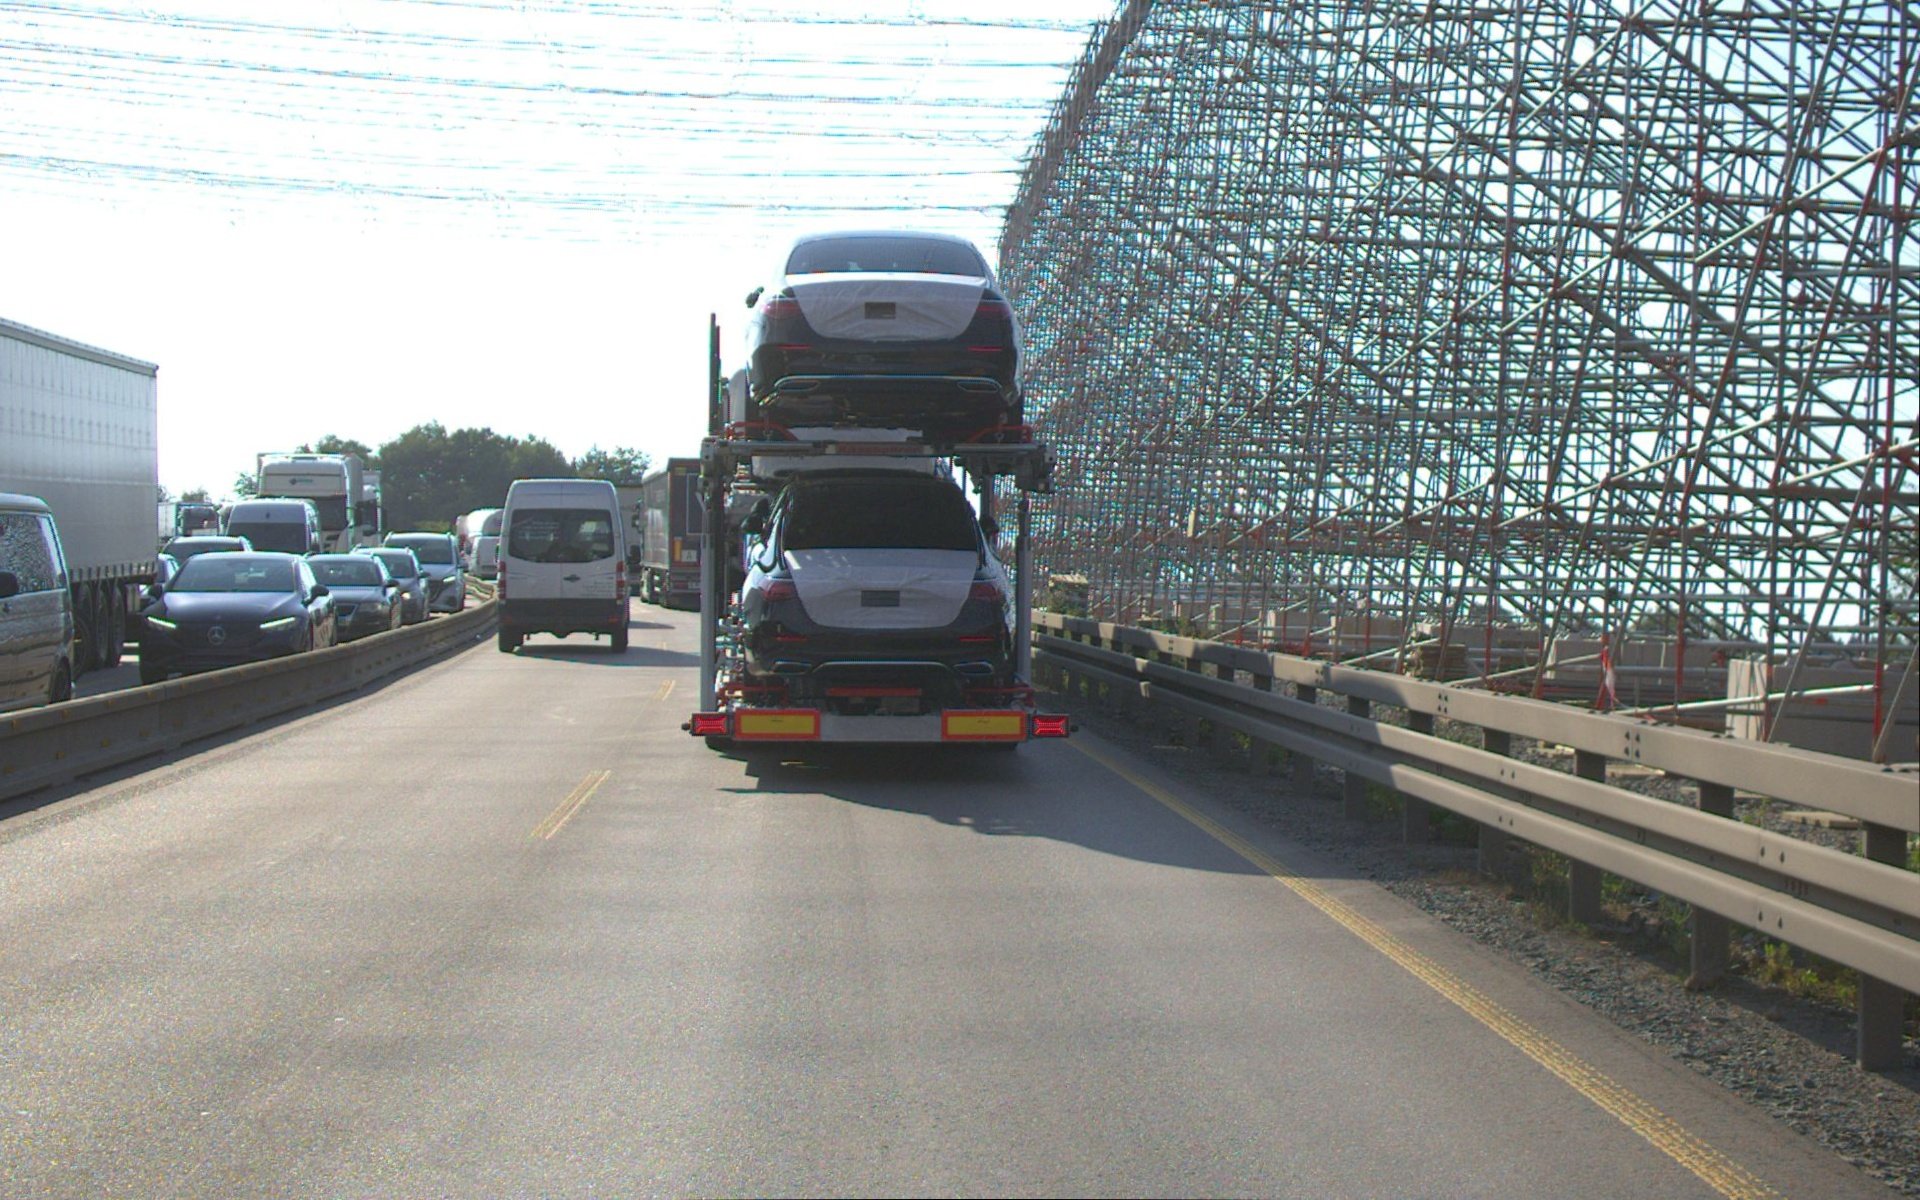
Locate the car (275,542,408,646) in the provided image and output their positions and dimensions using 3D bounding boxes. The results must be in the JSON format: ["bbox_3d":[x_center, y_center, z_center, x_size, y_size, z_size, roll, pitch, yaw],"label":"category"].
[{"bbox_3d":[-9.716,-0.127,54.217,1.741,1.537,4.406,1,1,-6],"label":"car"}]

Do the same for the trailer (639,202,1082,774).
[{"bbox_3d":[-0.940,-0.767,29.869,2.868,3.712,14.948,0,0,-2],"label":"trailer"}]

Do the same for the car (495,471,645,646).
[{"bbox_3d":[-6.053,-0.624,53.693,1.956,2.612,4.000,0,0,-1],"label":"car"}]

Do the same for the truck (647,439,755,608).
[{"bbox_3d":[-7.231,-2.114,95.997,2.731,4.370,11.523,1,1,-4],"label":"truck"}]

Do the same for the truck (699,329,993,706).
[{"bbox_3d":[-1.244,-0.830,37.483,2.881,3.690,7.326,0,0,-2],"label":"truck"}]

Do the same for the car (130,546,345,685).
[{"bbox_3d":[-8.438,0.137,40.524,1.784,1.497,4.755,1,1,-4],"label":"car"}]

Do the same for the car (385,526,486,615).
[{"bbox_3d":[-11.712,-0.679,76.955,1.836,1.887,4.001,1,1,-4],"label":"car"}]

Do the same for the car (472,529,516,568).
[{"bbox_3d":[-19.540,-2.137,144.175,1.710,1.612,3.504,0,0,-6],"label":"car"}]

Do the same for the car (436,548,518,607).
[{"bbox_3d":[-12.466,-0.595,88.639,1.836,1.448,4.001,1,1,-11],"label":"car"}]

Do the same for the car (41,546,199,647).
[{"bbox_3d":[-12.722,-0.079,52.260,1.665,1.436,3.852,1,1,-4],"label":"car"}]

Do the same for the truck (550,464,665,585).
[{"bbox_3d":[-13.556,-2.805,131.104,3.686,4.206,13.671,-3,1,-8],"label":"truck"}]

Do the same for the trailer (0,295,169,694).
[{"bbox_3d":[-11.868,-1.208,41.030,2.653,4.219,13.922,1,1,-5],"label":"trailer"}]

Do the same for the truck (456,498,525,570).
[{"bbox_3d":[-25.168,-3.537,183.934,2.615,3.711,9.662,1,1,-14],"label":"truck"}]

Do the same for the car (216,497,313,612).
[{"bbox_3d":[-15.892,-1.047,78.710,1.993,2.532,4.001,1,1,-10],"label":"car"}]

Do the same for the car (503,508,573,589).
[{"bbox_3d":[-13.831,-1.689,112.421,1.993,2.570,4.001,1,1,-10],"label":"car"}]

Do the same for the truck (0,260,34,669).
[{"bbox_3d":[-11.144,-1.389,34.325,2.662,4.215,6.105,0,1,-5],"label":"truck"}]

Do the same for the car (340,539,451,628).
[{"bbox_3d":[-10.794,-0.339,65.951,1.695,1.623,4.001,1,1,-4],"label":"car"}]

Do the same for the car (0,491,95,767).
[{"bbox_3d":[-7.666,0.172,24.718,1.874,1.928,4.862,1,1,-3],"label":"car"}]

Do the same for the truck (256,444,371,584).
[{"bbox_3d":[-17.377,-2.285,92.980,2.594,3.462,12.395,1,1,-9],"label":"truck"}]
